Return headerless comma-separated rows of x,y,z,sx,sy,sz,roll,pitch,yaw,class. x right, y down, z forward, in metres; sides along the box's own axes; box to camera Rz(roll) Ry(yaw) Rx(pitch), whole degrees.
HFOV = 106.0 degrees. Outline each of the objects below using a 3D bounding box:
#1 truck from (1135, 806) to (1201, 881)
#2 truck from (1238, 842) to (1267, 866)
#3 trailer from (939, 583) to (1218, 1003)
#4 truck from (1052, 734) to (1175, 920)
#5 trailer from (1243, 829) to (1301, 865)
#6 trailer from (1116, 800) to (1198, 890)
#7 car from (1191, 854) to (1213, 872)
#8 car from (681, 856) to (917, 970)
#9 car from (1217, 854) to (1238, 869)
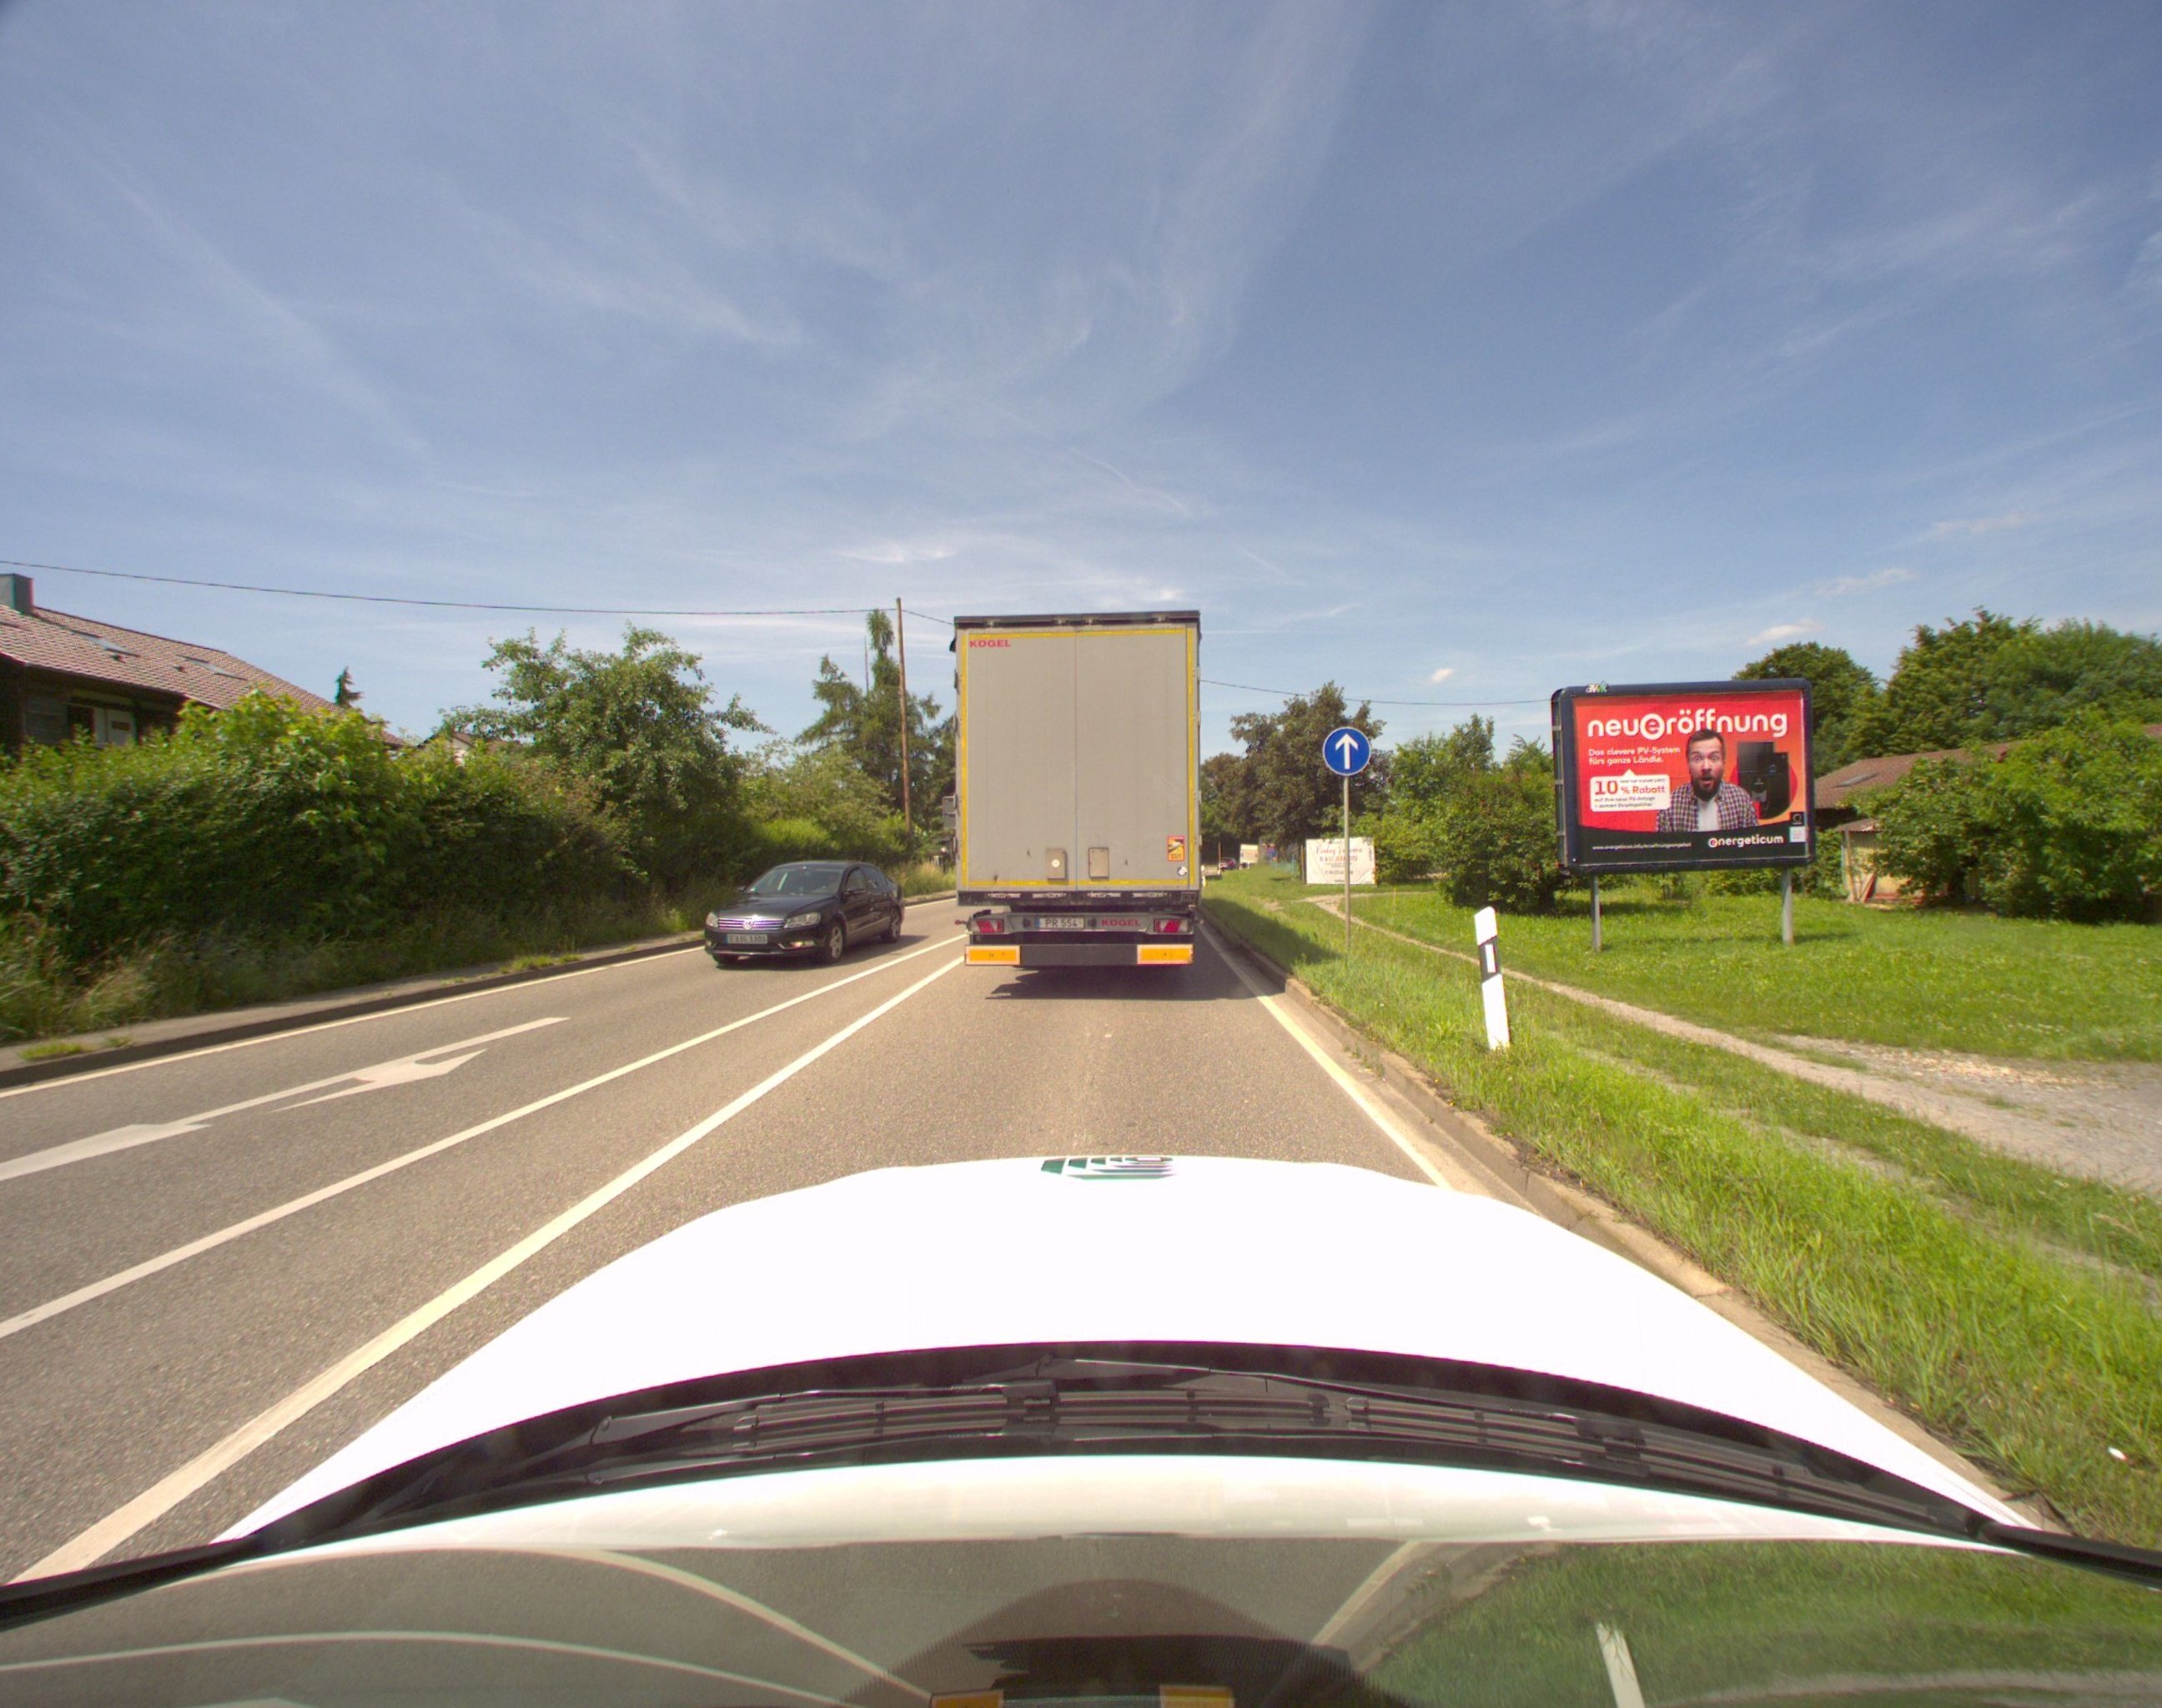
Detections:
5.912,-0.660,54.264,3.913,4.574,7.170,-1,0,9,truck
20.773,0.012,98.675,2.399,2.838,5.442,-1,0,23,truck
0.425,-0.650,14.275,2.774,4.205,12.126,-1,0,4,trailer
1.082,-0.630,21.453,2.731,4.165,6.154,-1,0,6,truck
27.079,-1.030,114.286,5.133,4.628,15.984,-1,0,23,trailer
4.758,-0.506,47.827,3.868,4.520,12.746,-1,0,9,trailer
12.892,0.921,86.890,1.980,1.837,4.015,-1,0,13,car
-4.195,0.791,13.041,1.806,1.417,4.621,-1,0,5,car
15.794,0.819,87.683,1.827,1.486,4.017,-1,0,16,car
